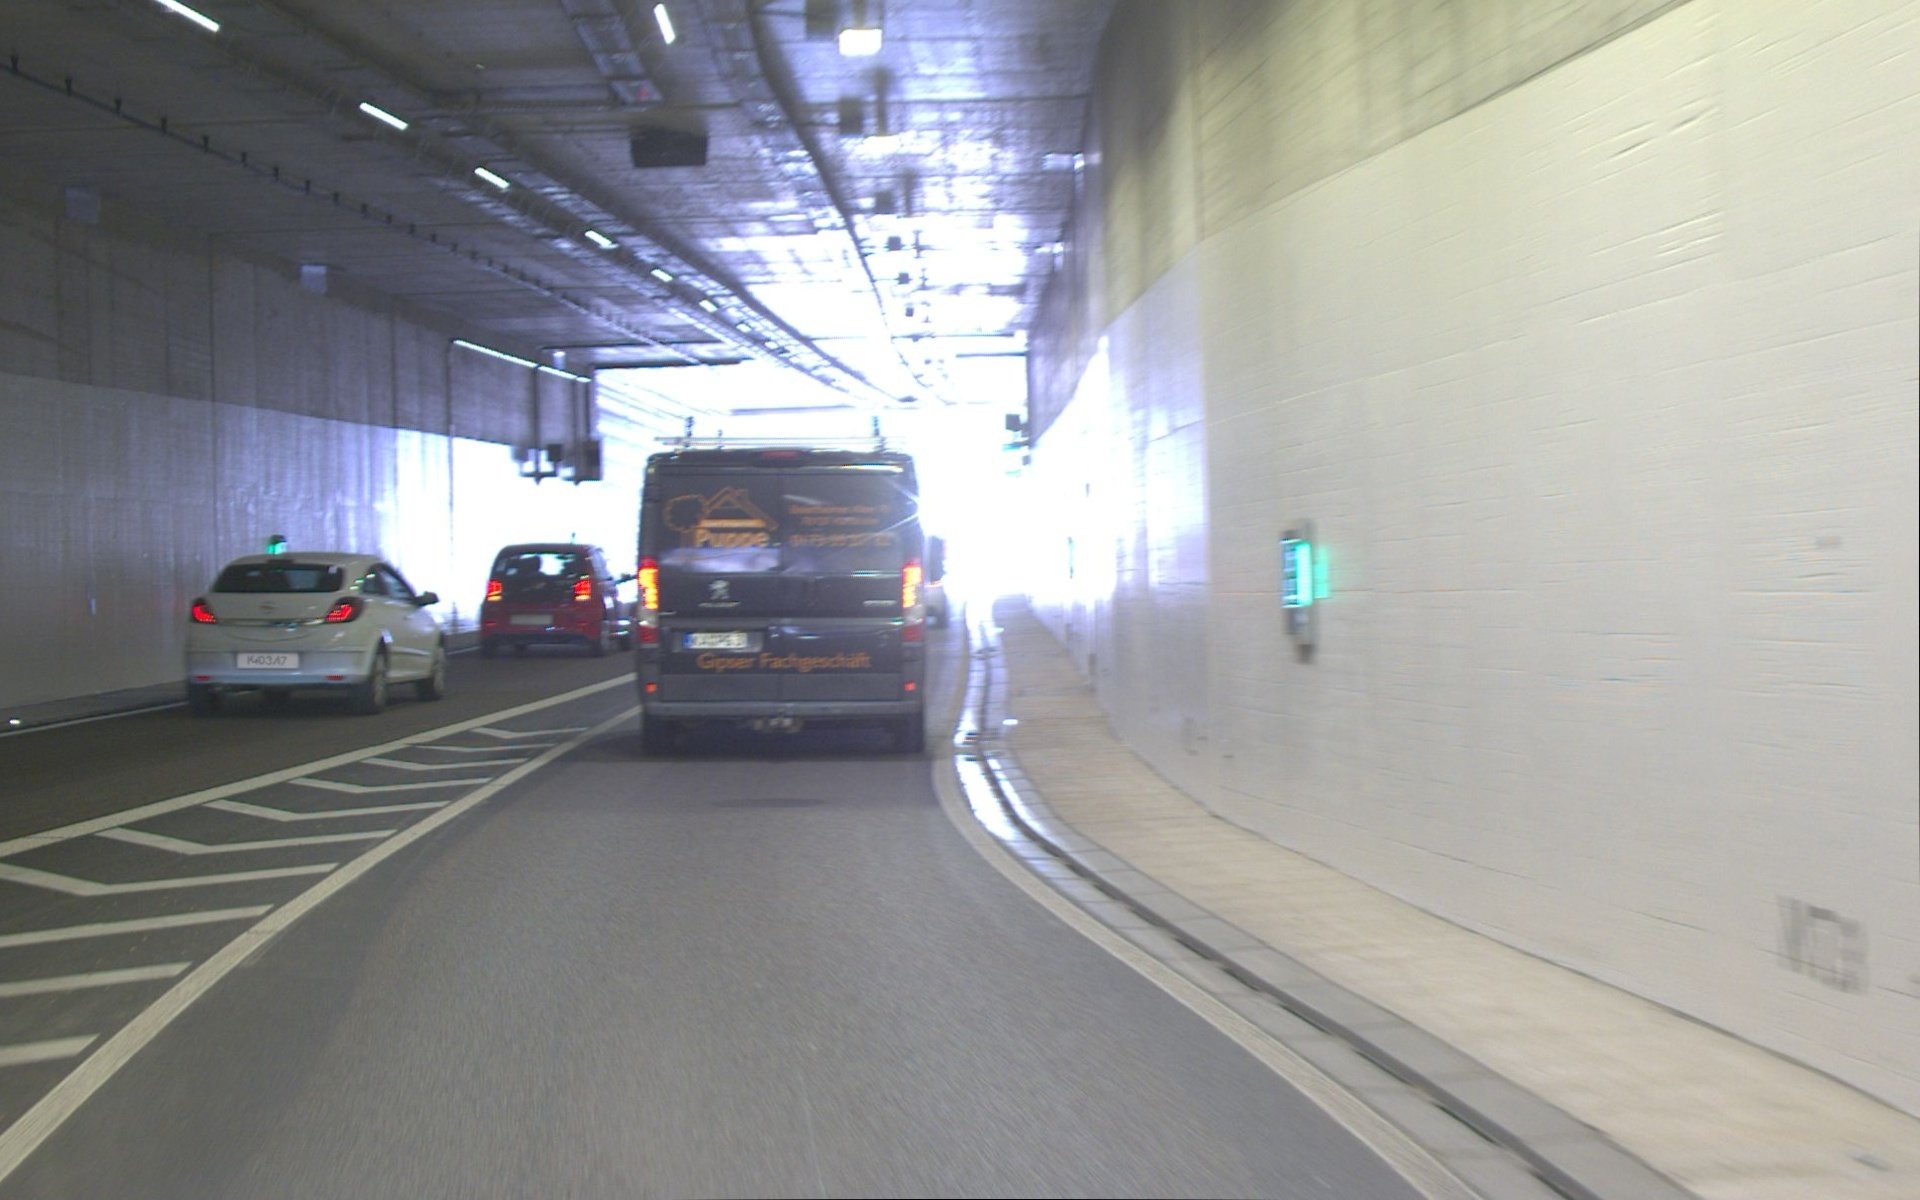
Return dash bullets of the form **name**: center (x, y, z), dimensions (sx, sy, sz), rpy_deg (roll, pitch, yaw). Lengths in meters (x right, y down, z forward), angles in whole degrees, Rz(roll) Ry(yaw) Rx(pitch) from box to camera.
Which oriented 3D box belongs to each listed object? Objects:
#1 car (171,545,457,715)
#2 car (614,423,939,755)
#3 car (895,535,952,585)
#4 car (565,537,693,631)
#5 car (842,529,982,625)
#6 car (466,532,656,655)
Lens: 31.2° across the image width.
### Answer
- **car**: center (-5.823, 0.228, 31.410), dimensions (1.709, 1.408, 3.974), rpy_deg (0, 1, 2)
- **car**: center (-1.267, -0.109, 25.820), dimensions (2.158, 2.258, 4.637), rpy_deg (0, 1, 0)
- **car**: center (-1.227, -1.338, 116.380), dimensions (1.876, 1.619, 4.220), rpy_deg (1, 0, -1)
- **car**: center (-5.763, -0.267, 60.239), dimensions (1.876, 1.576, 4.220), rpy_deg (1, 0, -1)
- **car**: center (-0.759, -0.402, 57.371), dimensions (2.085, 1.508, 4.636), rpy_deg (-1, 1, 2)
- **car**: center (-5.209, -0.123, 45.409), dimensions (1.815, 1.507, 4.220), rpy_deg (1, 1, 3)
